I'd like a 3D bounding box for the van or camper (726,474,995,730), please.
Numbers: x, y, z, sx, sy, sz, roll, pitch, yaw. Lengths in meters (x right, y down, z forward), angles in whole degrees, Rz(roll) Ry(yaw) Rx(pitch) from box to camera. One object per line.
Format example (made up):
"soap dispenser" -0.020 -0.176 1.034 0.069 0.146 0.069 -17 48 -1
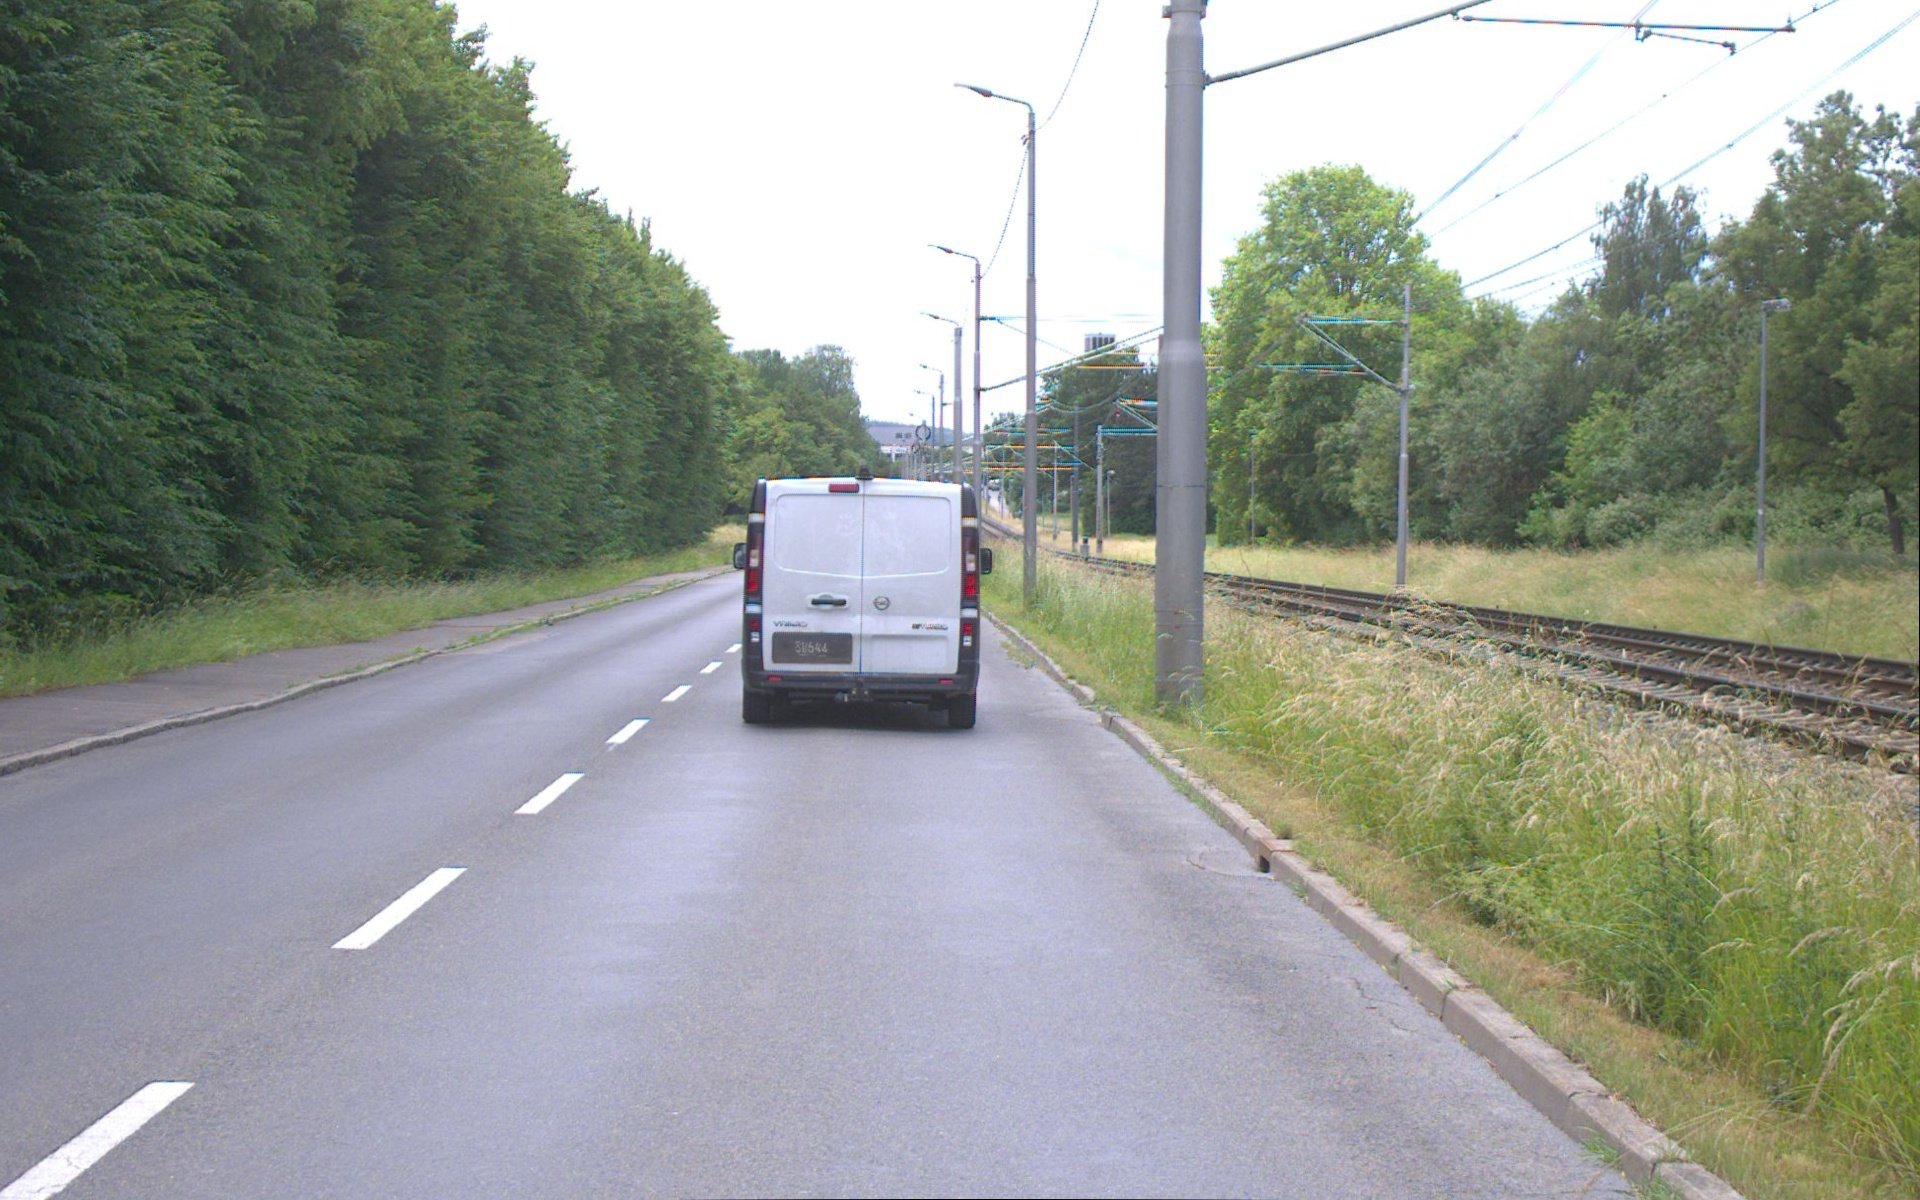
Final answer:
"van or camper" -0.894 -0.023 28.120 1.941 1.890 4.285 1 1 -4
